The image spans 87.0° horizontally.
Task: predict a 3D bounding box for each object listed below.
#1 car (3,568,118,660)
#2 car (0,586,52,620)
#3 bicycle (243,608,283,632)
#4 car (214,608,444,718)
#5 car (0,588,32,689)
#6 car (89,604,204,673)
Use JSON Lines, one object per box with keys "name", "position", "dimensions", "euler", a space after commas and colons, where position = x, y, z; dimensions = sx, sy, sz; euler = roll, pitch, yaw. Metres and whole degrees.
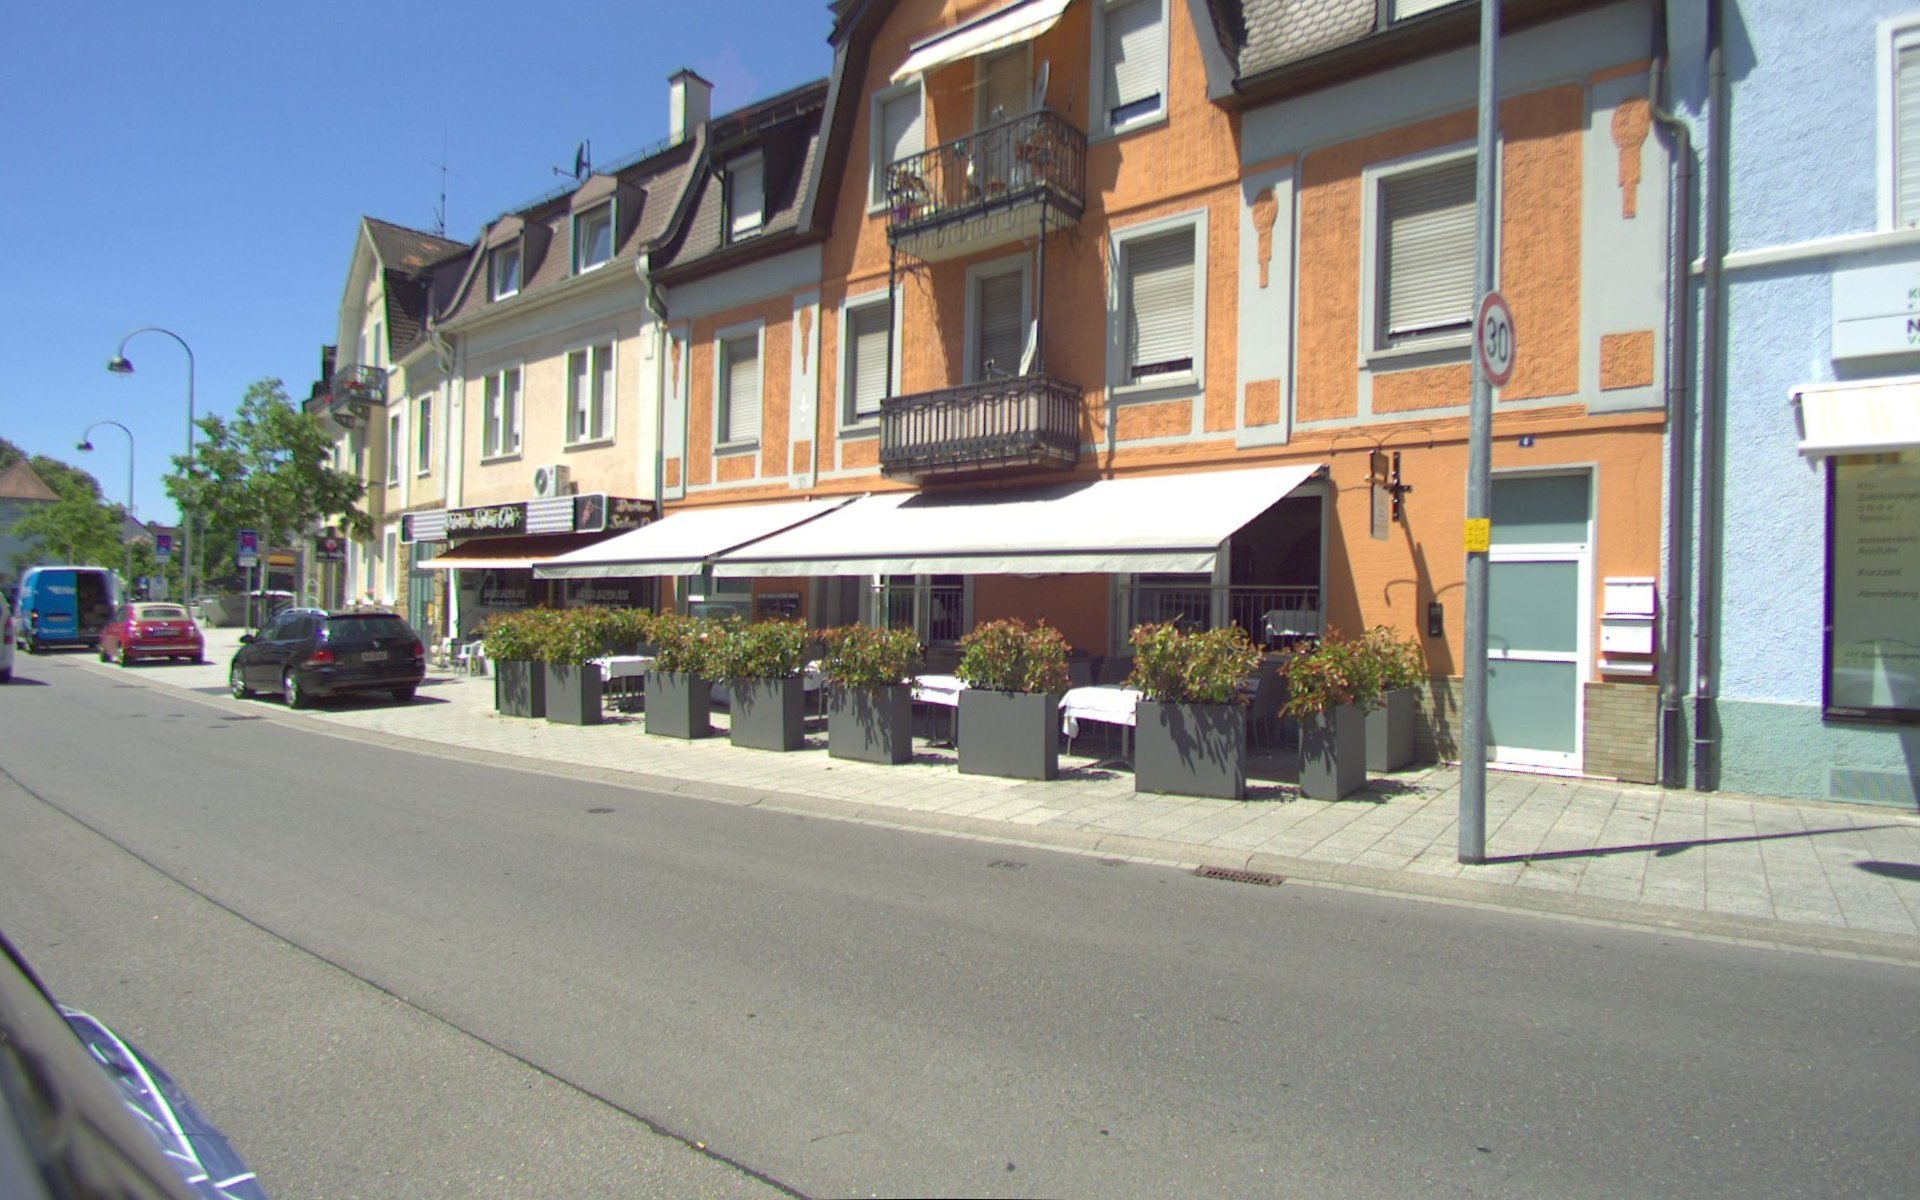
{"name": "car", "position": [-27.063, 0.378, 30.385], "dimensions": [5.503, 2.517, 2.069], "euler": [0, 0, 43]}
{"name": "car", "position": [-81.232, 0.248, 86.678], "dimensions": [4.788, 2.757, 1.856], "euler": [3, -2, -32]}
{"name": "bicycle", "position": [-38.379, 1.096, 55.763], "dimensions": [1.742, 1.243, 0.617], "euler": [-3, 1, -36]}
{"name": "car", "position": [-10.280, 0.905, 16.368], "dimensions": [4.333, 1.493, 1.896], "euler": [0, 1, 40]}
{"name": "car", "position": [-19.567, 0.676, 19.271], "dimensions": [4.408, 1.836, 1.975], "euler": [0, -3, 37]}
{"name": "car", "position": [-20.195, 0.909, 25.077], "dimensions": [3.512, 1.532, 1.544], "euler": [1, 0, 40]}
